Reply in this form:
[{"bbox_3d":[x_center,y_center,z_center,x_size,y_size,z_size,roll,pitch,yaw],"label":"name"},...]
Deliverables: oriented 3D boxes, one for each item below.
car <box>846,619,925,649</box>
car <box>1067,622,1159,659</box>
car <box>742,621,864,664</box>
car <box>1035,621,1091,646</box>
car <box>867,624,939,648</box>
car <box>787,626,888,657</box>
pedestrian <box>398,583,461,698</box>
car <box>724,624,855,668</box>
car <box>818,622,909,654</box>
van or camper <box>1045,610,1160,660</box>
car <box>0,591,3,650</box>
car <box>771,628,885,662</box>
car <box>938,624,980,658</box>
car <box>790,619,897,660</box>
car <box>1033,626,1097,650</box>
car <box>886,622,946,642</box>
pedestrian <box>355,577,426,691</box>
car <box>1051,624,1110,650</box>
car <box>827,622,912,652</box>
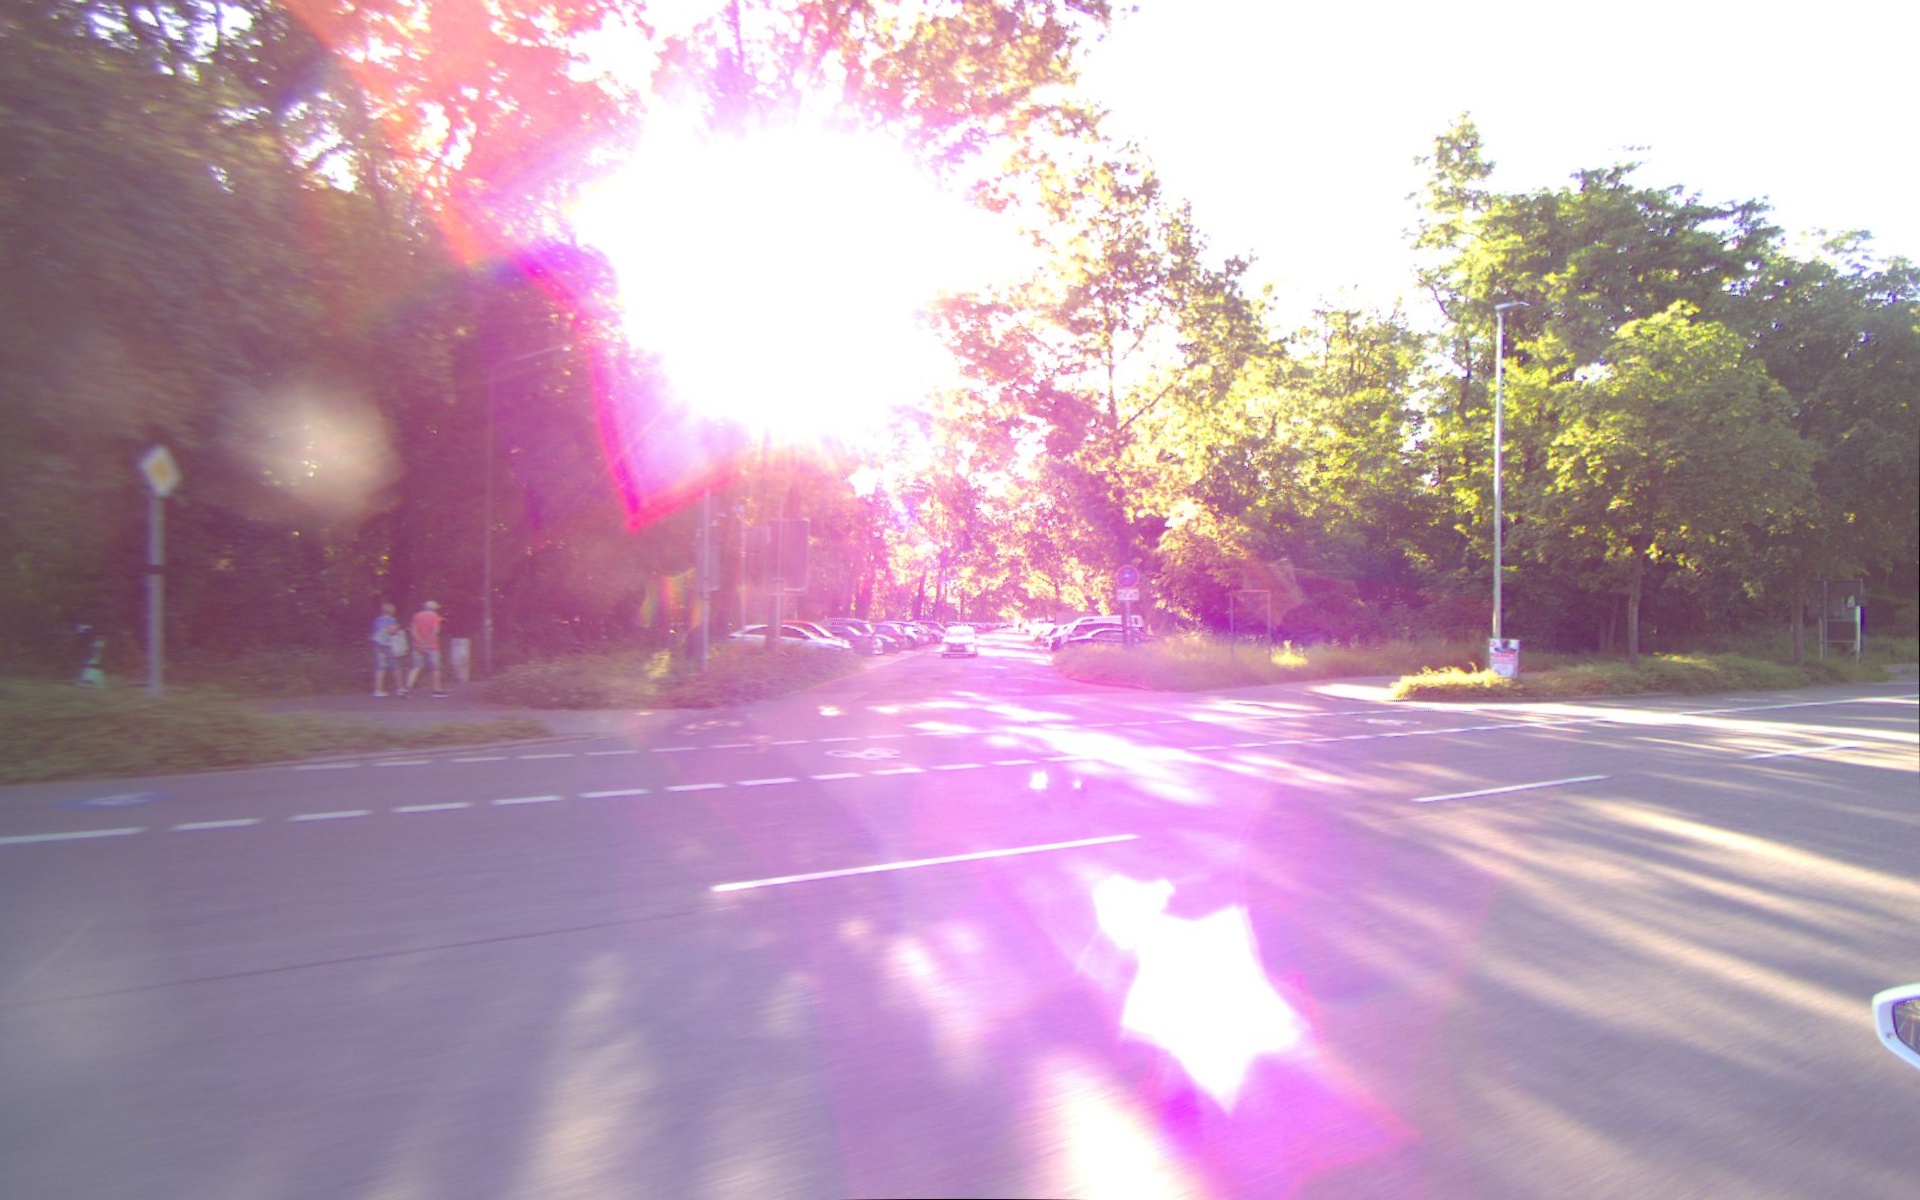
[{"bbox_3d":[-4.343,1.992,59.023,4.410,1.725,2.001,0,-1,3],"label":"car"},{"bbox_3d":[6.752,1.798,44.790,3.919,1.546,2.001,0,-1,5],"label":"car"},{"bbox_3d":[-6.033,1.626,38.967,4.325,1.564,2.001,0,-1,3],"label":"car"},{"bbox_3d":[7.670,2.500,75.099,3.921,1.762,2.000,1,-1,-1],"label":"car"},{"bbox_3d":[-3.642,2.280,64.396,4.410,1.459,2.001,0,-1,3],"label":"car"},{"bbox_3d":[-5.606,1.904,46.268,4.325,1.332,2.001,0,-1,3],"label":"car"},{"bbox_3d":[-9.673,0.728,18.341,0.732,2.040,0.719,1,-1,2],"label":"pedestrian"},{"bbox_3d":[-6.097,1.649,36.236,4.325,1.501,2.001,0,-1,3],"label":"car"},{"bbox_3d":[-4.933,1.959,51.681,4.410,1.564,2.001,0,-1,3],"label":"car"},{"bbox_3d":[6.974,1.702,49.632,5.312,2.040,2.000,4,0,0],"label":"van or camper"},{"bbox_3d":[-32.466,0.670,32.193,1.980,2.007,3.961,1,-1,-35],"label":"car"},{"bbox_3d":[-5.345,1.817,41.092,4.325,1.332,2.001,0,-1,3],"label":"car"},{"bbox_3d":[-0.002,1.955,48.797,1.960,1.564,4.501,0,-1,1],"label":"car"},{"bbox_3d":[-4.991,1.681,43.396,4.325,1.711,2.001,0,-1,3],"label":"car"},{"bbox_3d":[6.756,2.452,64.816,3.922,1.486,1.673,1,-1,-2],"label":"car"},{"bbox_3d":[-3.360,2.426,77.319,4.410,1.459,2.001,0,-1,3],"label":"car"},{"bbox_3d":[-10.401,0.611,18.373,0.857,2.040,0.719,0,-1,2],"label":"pedestrian"},{"bbox_3d":[8.419,2.555,70.434,3.921,1.762,2.000,1,-1,-1],"label":"car"},{"bbox_3d":[-4.952,2.032,55.387,4.410,1.564,2.001,0,-1,3],"label":"car"}]
